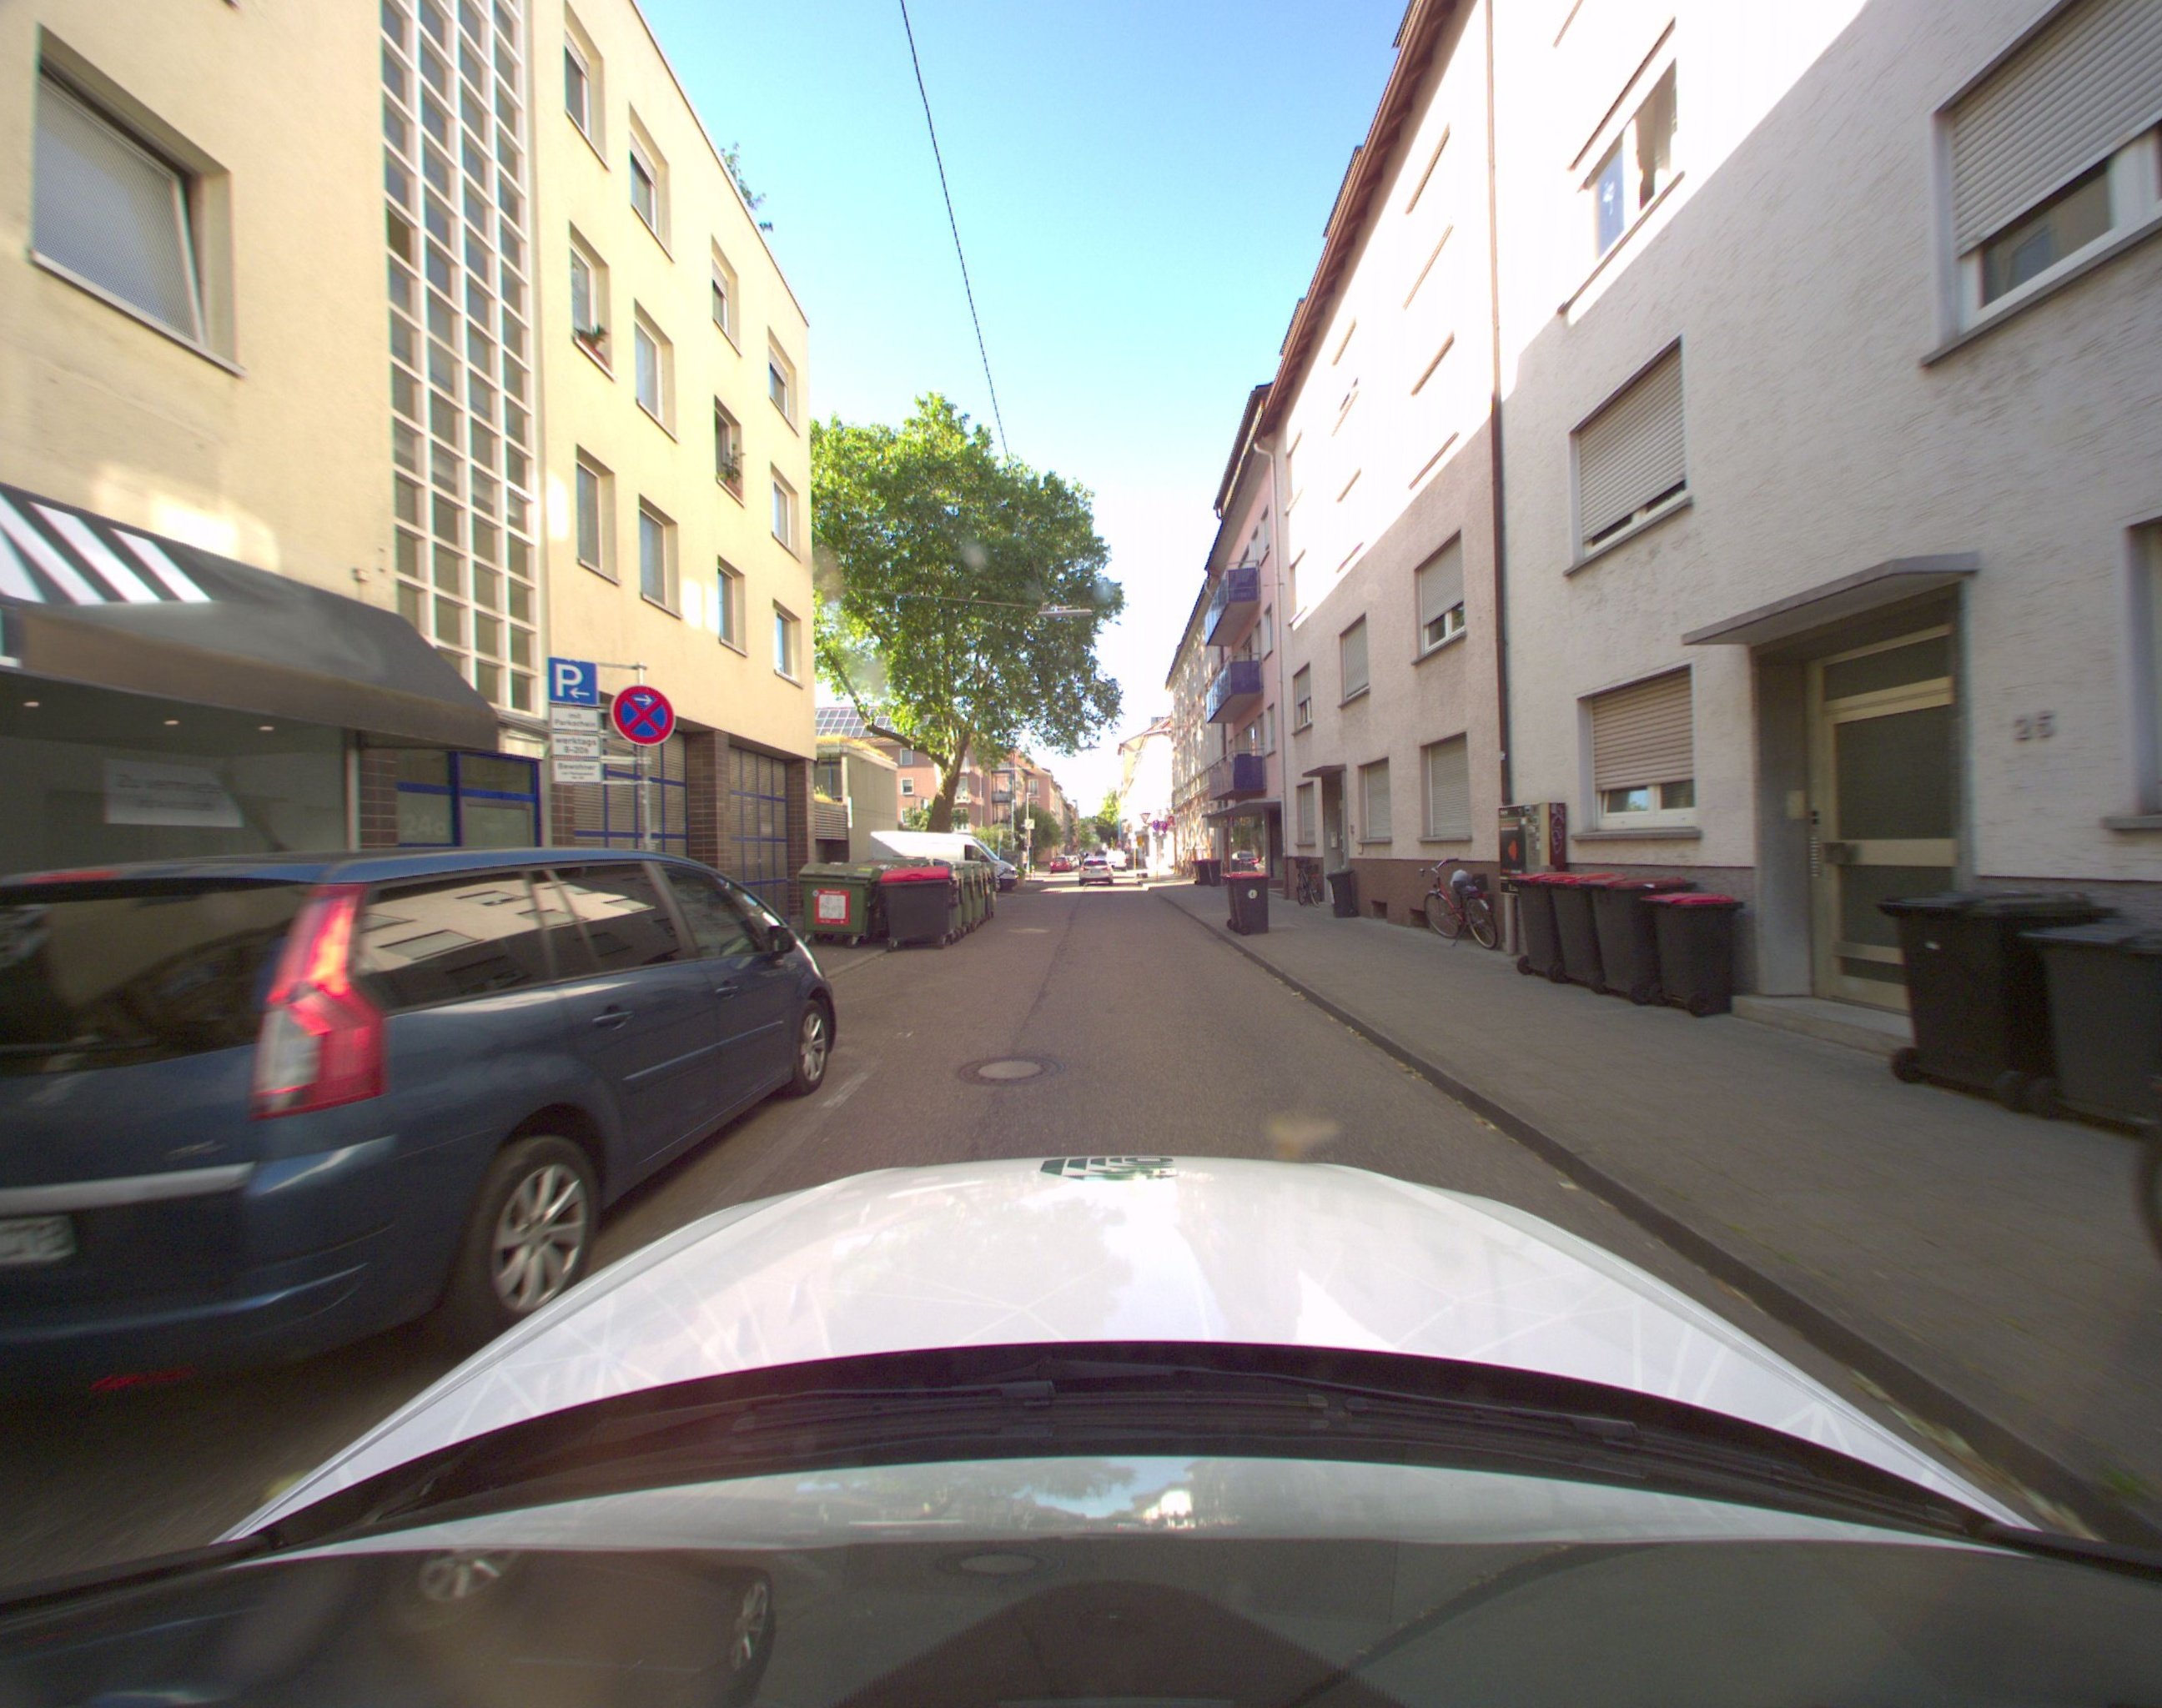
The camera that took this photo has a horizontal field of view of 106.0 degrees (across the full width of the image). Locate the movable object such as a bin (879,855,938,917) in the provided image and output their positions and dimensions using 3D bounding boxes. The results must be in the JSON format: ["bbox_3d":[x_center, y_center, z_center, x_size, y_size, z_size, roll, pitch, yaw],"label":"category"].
[{"bbox_3d":[-4.486,0.819,21.280,1.350,1.549,1.119,-1,-1,-5],"label":"movable object such as a bin"}]

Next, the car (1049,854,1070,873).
[{"bbox_3d":[-1.931,0.843,73.947,1.764,1.589,3.726,-2,1,1],"label":"car"}]

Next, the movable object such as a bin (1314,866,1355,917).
[{"bbox_3d":[4.968,0.722,15.991,0.595,0.951,0.682,-2,-1,2],"label":"movable object such as a bin"}]

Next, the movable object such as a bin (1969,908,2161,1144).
[{"bbox_3d":[4.754,0.752,3.763,0.575,0.924,0.608,-4,0,1],"label":"movable object such as a bin"}]

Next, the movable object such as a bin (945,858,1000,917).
[{"bbox_3d":[-2.777,0.841,21.041,1.297,1.451,1.116,-1,-1,-3],"label":"movable object such as a bin"}]

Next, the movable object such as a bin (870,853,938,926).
[{"bbox_3d":[-4.076,0.805,18.849,1.284,1.604,1.082,-1,-1,1],"label":"movable object such as a bin"}]

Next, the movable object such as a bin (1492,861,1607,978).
[{"bbox_3d":[4.762,0.648,8.319,0.736,1.097,0.640,-4,-1,2],"label":"movable object such as a bin"}]

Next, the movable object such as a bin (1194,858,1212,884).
[{"bbox_3d":[5.157,0.718,34.489,0.699,1.073,0.597,-2,-1,3],"label":"movable object such as a bin"}]

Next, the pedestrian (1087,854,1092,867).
[{"bbox_3d":[1.216,0.874,115.725,0.645,1.797,0.639,-2,-1,2],"label":"pedestrian"}]

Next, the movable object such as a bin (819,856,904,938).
[{"bbox_3d":[-4.204,0.813,15.705,1.301,1.499,1.157,-1,-1,1],"label":"movable object such as a bin"}]

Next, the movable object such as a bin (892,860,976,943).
[{"bbox_3d":[-2.808,0.884,15.701,1.329,1.484,1.093,-3,-1,1],"label":"movable object such as a bin"}]

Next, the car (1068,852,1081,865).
[{"bbox_3d":[-0.834,0.560,106.170,1.566,1.585,3.612,-2,-1,2],"label":"car"}]

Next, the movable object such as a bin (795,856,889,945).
[{"bbox_3d":[-4.237,0.801,14.547,1.292,1.498,1.179,-1,-1,1],"label":"movable object such as a bin"}]

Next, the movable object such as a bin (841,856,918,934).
[{"bbox_3d":[-4.130,0.825,16.782,1.297,1.522,1.018,-1,-1,1],"label":"movable object such as a bin"}]

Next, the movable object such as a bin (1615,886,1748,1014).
[{"bbox_3d":[4.791,0.746,6.527,0.603,0.934,0.605,-2,0,2],"label":"movable object such as a bin"}]

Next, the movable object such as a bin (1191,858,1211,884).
[{"bbox_3d":[5.172,0.718,35.121,0.742,1.086,0.635,-2,-1,3],"label":"movable object such as a bin"}]

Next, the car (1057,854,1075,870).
[{"bbox_3d":[-1.503,0.840,85.058,1.629,1.656,3.786,-1,-1,2],"label":"car"}]

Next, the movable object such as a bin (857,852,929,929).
[{"bbox_3d":[-4.082,0.785,17.784,1.290,1.620,1.018,-1,-1,1],"label":"movable object such as a bin"}]

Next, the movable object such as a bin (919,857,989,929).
[{"bbox_3d":[-2.753,0.833,17.782,1.338,1.499,1.018,-1,-1,1],"label":"movable object such as a bin"}]

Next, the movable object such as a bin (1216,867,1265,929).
[{"bbox_3d":[2.931,0.800,15.040,0.765,1.086,0.693,-2,-1,2],"label":"movable object such as a bin"}]

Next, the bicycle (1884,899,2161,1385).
[{"bbox_3d":[3.024,0.754,1.700,0.661,1.137,1.987,-4,1,-1],"label":"bicycle"}]

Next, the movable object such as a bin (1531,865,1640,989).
[{"bbox_3d":[4.764,0.666,7.723,0.654,1.105,0.593,-2,0,2],"label":"movable object such as a bin"}]

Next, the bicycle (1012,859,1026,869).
[{"bbox_3d":[-6.499,1.055,85.283,0.607,0.932,1.895,-1,-1,-32],"label":"bicycle"}]

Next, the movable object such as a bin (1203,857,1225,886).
[{"bbox_3d":[5.321,0.702,32.541,0.727,1.104,0.692,-2,-1,-1],"label":"movable object such as a bin"}]

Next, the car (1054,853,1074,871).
[{"bbox_3d":[-1.621,0.810,79.544,1.714,1.682,3.727,-2,0,2],"label":"car"}]

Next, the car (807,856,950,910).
[{"bbox_3d":[-6.068,0.861,24.727,3.863,1.505,1.826,-1,-1,0],"label":"car"}]

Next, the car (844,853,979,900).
[{"bbox_3d":[-6.054,0.807,29.473,4.453,1.610,1.915,0,-1,-2],"label":"car"}]

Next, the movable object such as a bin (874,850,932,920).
[{"bbox_3d":[-4.373,0.752,20.121,1.225,1.653,1.172,-1,-1,-5],"label":"movable object such as a bin"}]

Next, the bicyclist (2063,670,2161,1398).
[{"bbox_3d":[2.973,0.430,1.710,0.758,1.770,0.822,-4,1,-1],"label":"bicyclist"}]

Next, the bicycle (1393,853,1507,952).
[{"bbox_3d":[4.963,0.596,11.112,0.535,1.170,2.076,-6,0,1],"label":"bicycle"}]

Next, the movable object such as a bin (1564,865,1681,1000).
[{"bbox_3d":[4.738,0.665,7.162,0.625,1.122,0.569,-2,-1,2],"label":"movable object such as a bin"}]

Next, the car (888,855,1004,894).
[{"bbox_3d":[-5.650,0.831,34.418,4.482,1.470,1.930,2,0,2],"label":"car"}]

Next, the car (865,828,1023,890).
[{"bbox_3d":[-6.158,0.237,37.228,6.712,2.555,2.147,2,-1,2],"label":"car"}]

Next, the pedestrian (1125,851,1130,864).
[{"bbox_3d":[6.058,0.456,105.836,0.615,1.733,0.560,-2,-1,0],"label":"pedestrian"}]

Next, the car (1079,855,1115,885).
[{"bbox_3d":[0.852,0.829,44.467,1.817,1.514,3.823,-2,0,0],"label":"car"}]

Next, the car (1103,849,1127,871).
[{"bbox_3d":[3.189,0.562,77.113,1.937,1.948,4.076,0,0,-1],"label":"car"}]

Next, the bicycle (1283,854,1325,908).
[{"bbox_3d":[5.111,0.594,18.731,0.451,1.134,1.921,-4,-1,3],"label":"bicycle"}]

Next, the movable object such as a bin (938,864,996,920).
[{"bbox_3d":[-2.770,0.919,19.941,1.236,1.322,1.046,-1,-1,1],"label":"movable object such as a bin"}]

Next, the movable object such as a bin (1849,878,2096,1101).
[{"bbox_3d":[4.741,0.688,4.373,0.614,1.062,0.603,-3,0,1],"label":"movable object such as a bin"}]

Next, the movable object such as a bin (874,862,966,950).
[{"bbox_3d":[-2.837,0.894,14.527,1.315,1.450,1.187,-3,-1,1],"label":"movable object such as a bin"}]

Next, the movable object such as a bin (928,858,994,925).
[{"bbox_3d":[-2.748,0.852,18.850,1.330,1.491,1.082,-1,-1,1],"label":"movable object such as a bin"}]

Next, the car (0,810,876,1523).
[{"bbox_3d":[-2.650,0.769,4.285,1.776,1.667,4.671,-3,0,1],"label":"car"}]

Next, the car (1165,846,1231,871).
[{"bbox_3d":[9.414,0.386,65.723,4.845,1.929,2.011,-1,-2,25],"label":"car"}]

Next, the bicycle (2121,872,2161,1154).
[{"bbox_3d":[4.621,0.639,2.497,0.566,1.153,1.871,-2,-1,6],"label":"bicycle"}]

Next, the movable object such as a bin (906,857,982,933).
[{"bbox_3d":[-2.795,0.827,16.746,1.344,1.487,1.003,-1,-1,1],"label":"movable object such as a bin"}]

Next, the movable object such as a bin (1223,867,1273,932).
[{"bbox_3d":[2.923,0.784,14.327,0.729,1.081,0.704,-2,-1,2],"label":"movable object such as a bin"}]
